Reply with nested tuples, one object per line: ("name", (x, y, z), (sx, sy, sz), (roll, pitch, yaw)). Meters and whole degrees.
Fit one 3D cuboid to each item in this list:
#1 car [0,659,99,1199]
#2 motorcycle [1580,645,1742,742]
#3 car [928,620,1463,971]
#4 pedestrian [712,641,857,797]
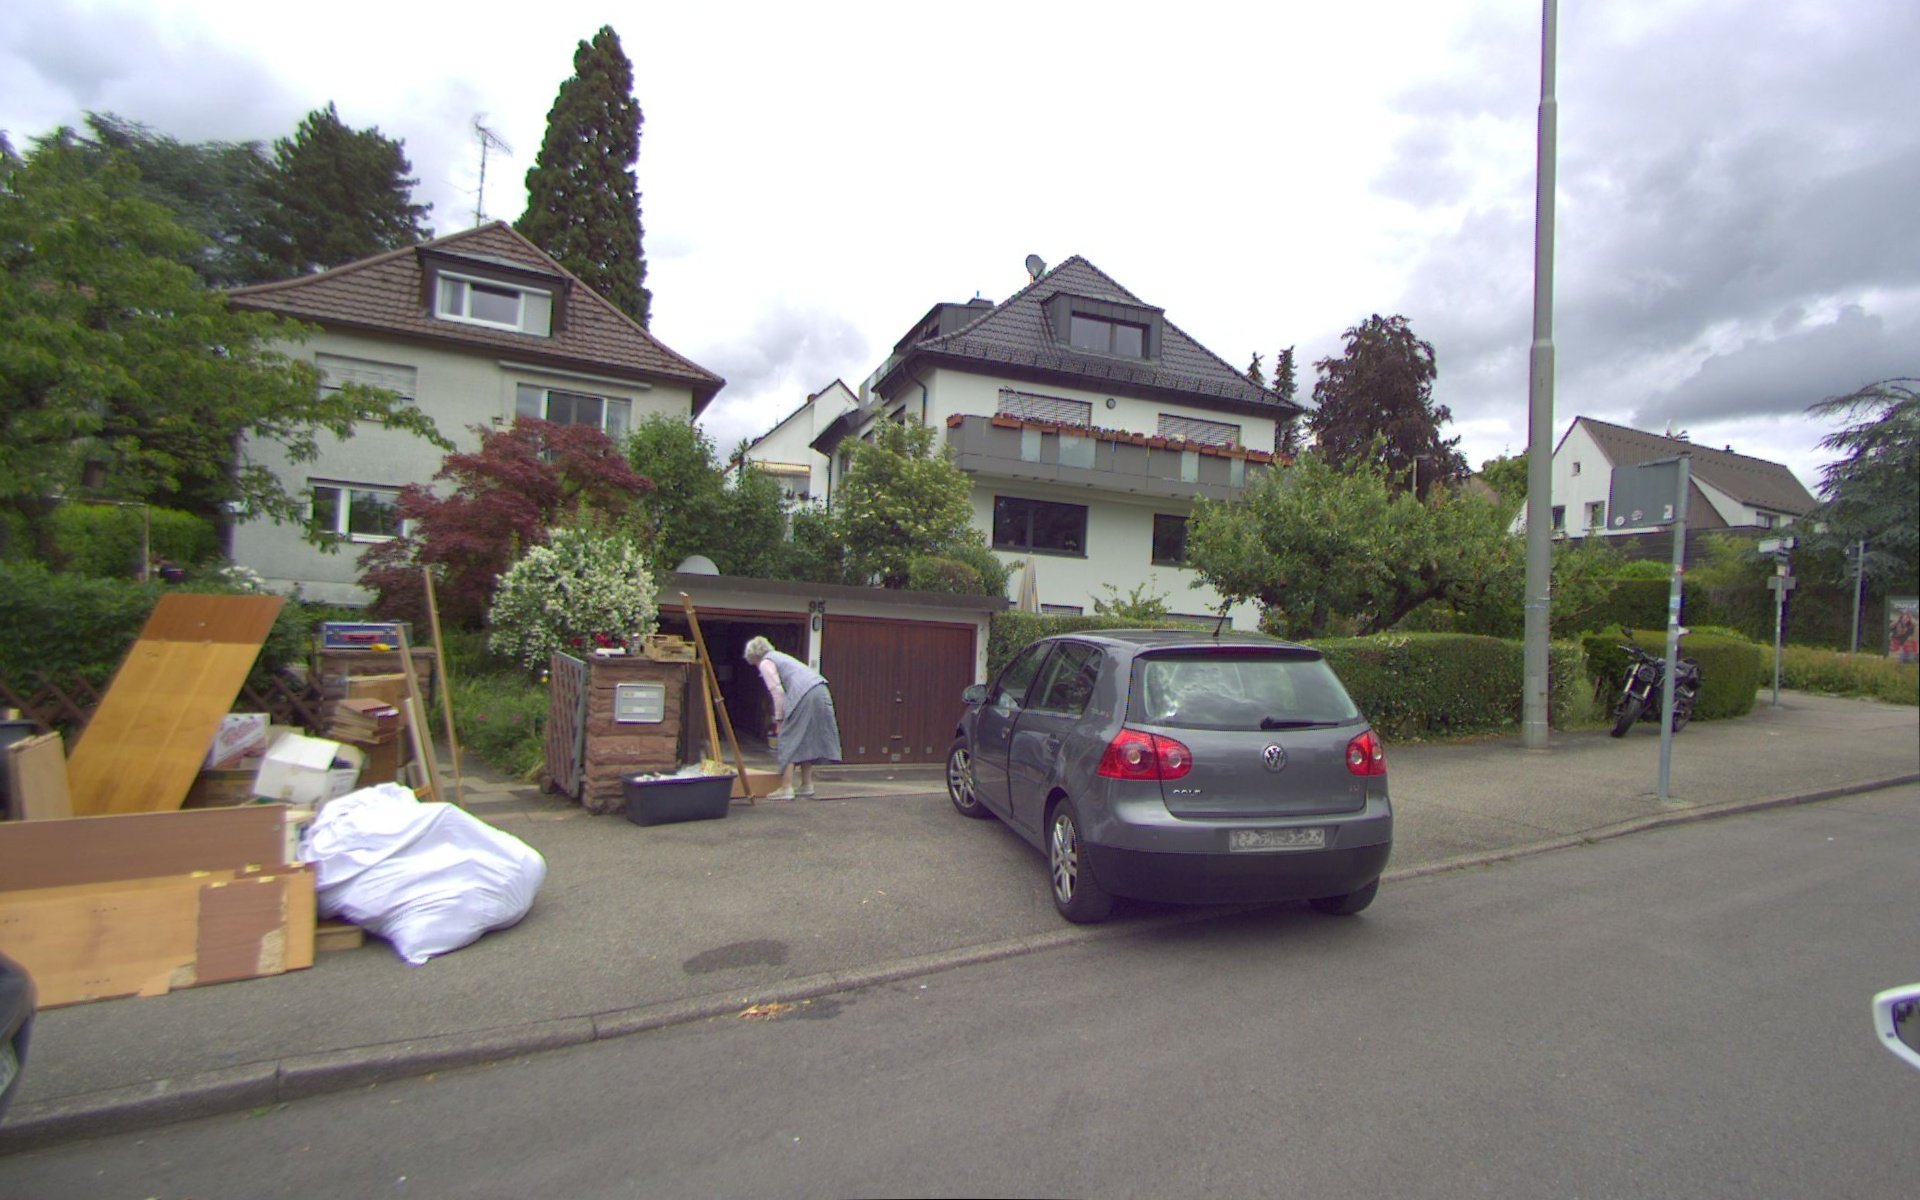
("car", (-3.777, 0.805, 1.176), (3.944, 1.413, 1.629), (1, -3, -32))
("motorcycle", (9.113, 1.164, 13.022), (2.594, 1.131, 0.725), (1, 0, -31))
("car", (1.066, 0.894, 6.512), (1.795, 1.463, 3.989), (1, 0, -13))
("pedestrian", (-1.515, 1.001, 8.794), (0.930, 1.241, 0.837), (1, -1, 18))
